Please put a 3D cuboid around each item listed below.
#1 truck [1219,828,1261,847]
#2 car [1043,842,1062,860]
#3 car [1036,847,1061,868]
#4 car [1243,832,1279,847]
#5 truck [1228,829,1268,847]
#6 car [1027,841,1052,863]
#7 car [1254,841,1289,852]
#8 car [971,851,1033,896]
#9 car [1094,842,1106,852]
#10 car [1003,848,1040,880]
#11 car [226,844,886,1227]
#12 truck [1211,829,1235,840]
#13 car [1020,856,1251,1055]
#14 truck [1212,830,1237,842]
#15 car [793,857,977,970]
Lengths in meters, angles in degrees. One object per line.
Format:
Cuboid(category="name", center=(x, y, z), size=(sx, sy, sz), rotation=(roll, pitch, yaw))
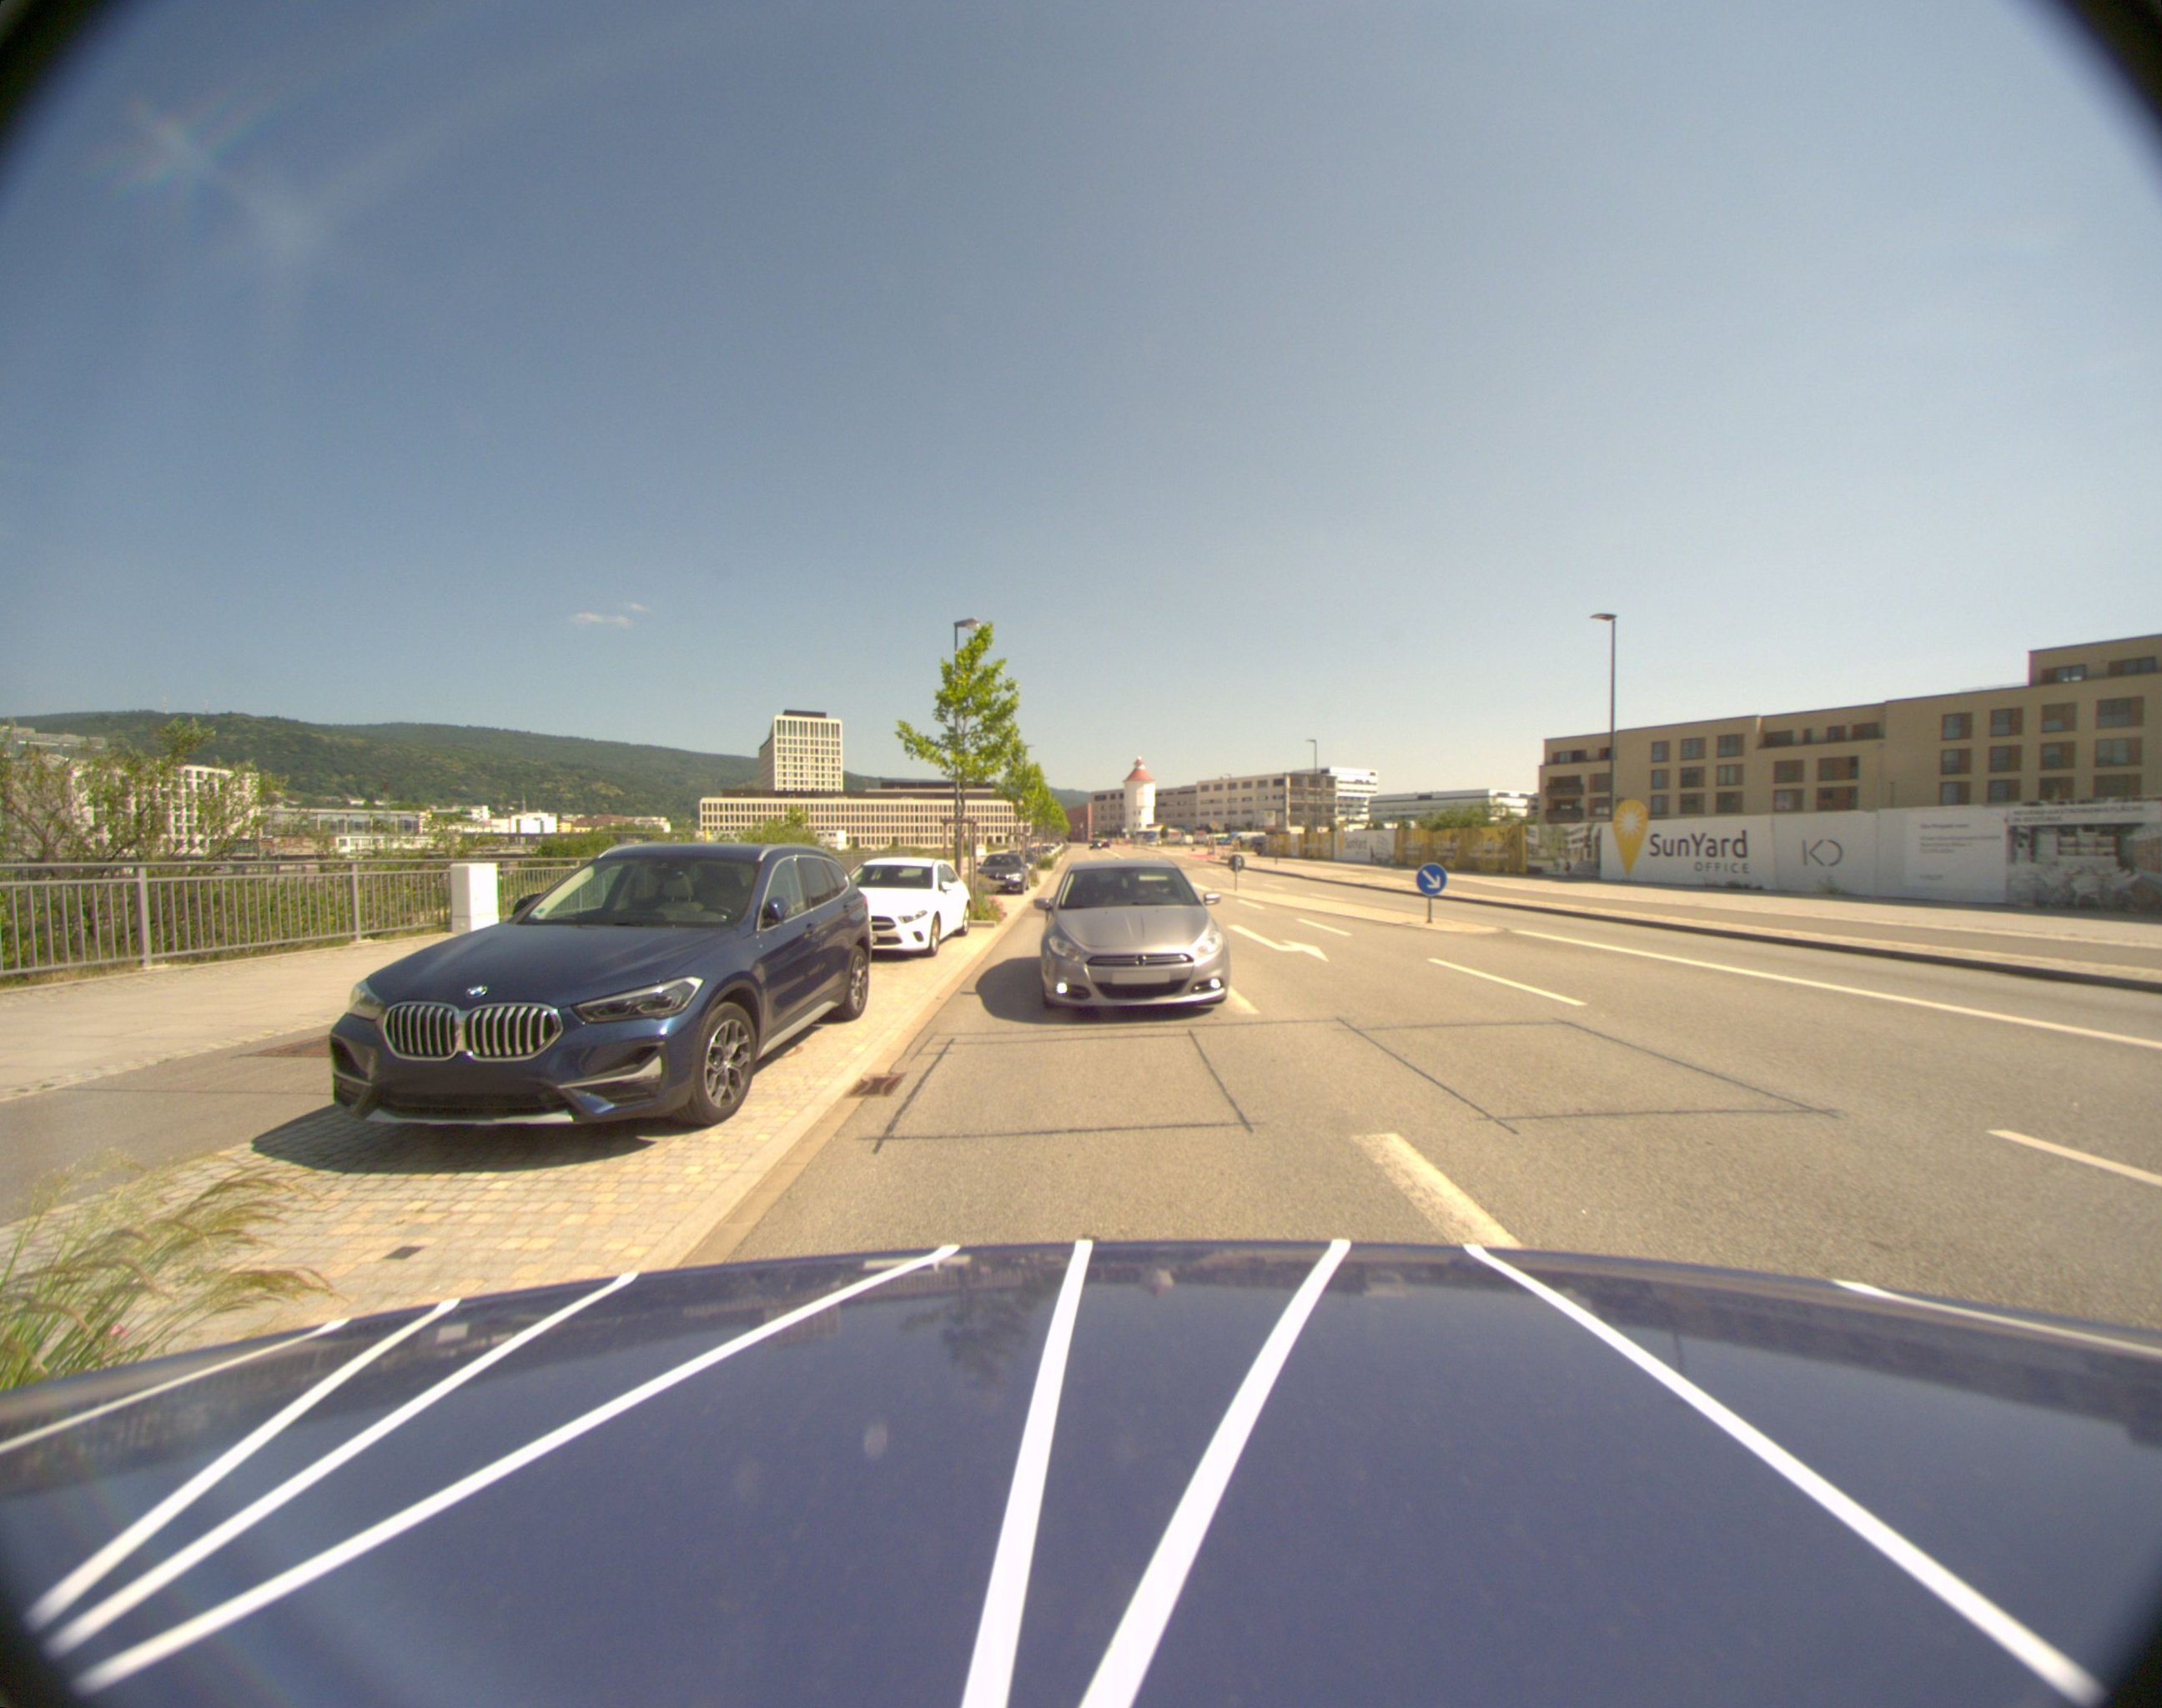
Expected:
Cuboid(category="truck", center=(23.713, -2.471, 113.362), size=(5.633, 2.461, 1.999), rotation=(-3, 1, -4))
Cuboid(category="car", center=(-2.626, -0.288, 70.588), size=(1.526, 1.482, 3.504), rotation=(-3, 1, 0))
Cuboid(category="car", center=(-2.166, 0.225, 50.667), size=(1.490, 1.302, 3.154), rotation=(2, 1, 0))
Cuboid(category="car", center=(22.884, -1.879, 96.584), size=(3.930, 1.708, 1.891), rotation=(-3, 1, -5))
Cuboid(category="truck", center=(23.295, -2.264, 105.963), size=(5.005, 2.215, 1.999), rotation=(-2, 1, -1))
Cuboid(category="car", center=(-3.311, -0.170, 61.085), size=(1.768, 1.609, 3.373), rotation=(-3, 1, 0))
Cuboid(category="car", center=(19.609, -0.768, 78.261), size=(3.359, 0.947, 1.293), rotation=(-2, 1, 3))
Cuboid(category="car", center=(-2.797, 0.646, 27.783), size=(1.808, 1.424, 3.915), rotation=(2, 1, 0))
Cuboid(category="car", center=(3.161, -1.105, 123.501), size=(1.819, 1.458, 4.347), rotation=(-3, 1, 2))
Cuboid(category="car", center=(-2.932, 0.462, 37.984), size=(1.569, 1.465, 3.006), rotation=(2, 1, 0))
Cuboid(category="car", center=(-2.885, 0.787, 5.524), size=(1.808, 1.674, 4.270), rotation=(1, 1, 0))
Cuboid(category="truck", center=(34.585, -4.694, 185.347), size=(5.412, 2.461, 1.999), rotation=(-2, 1, -2))
Cuboid(category="car", center=(0.480, 0.835, 8.357), size=(1.820, 1.459, 4.346), rotation=(-3, 1, 1))
Cuboid(category="truck", center=(33.371, -4.194, 177.310), size=(5.333, 2.461, 1.999), rotation=(-3, 1, -4))
Cuboid(category="car", center=(-2.942, 0.812, 12.393), size=(1.710, 1.366, 4.270), rotation=(2, 1, 2))
